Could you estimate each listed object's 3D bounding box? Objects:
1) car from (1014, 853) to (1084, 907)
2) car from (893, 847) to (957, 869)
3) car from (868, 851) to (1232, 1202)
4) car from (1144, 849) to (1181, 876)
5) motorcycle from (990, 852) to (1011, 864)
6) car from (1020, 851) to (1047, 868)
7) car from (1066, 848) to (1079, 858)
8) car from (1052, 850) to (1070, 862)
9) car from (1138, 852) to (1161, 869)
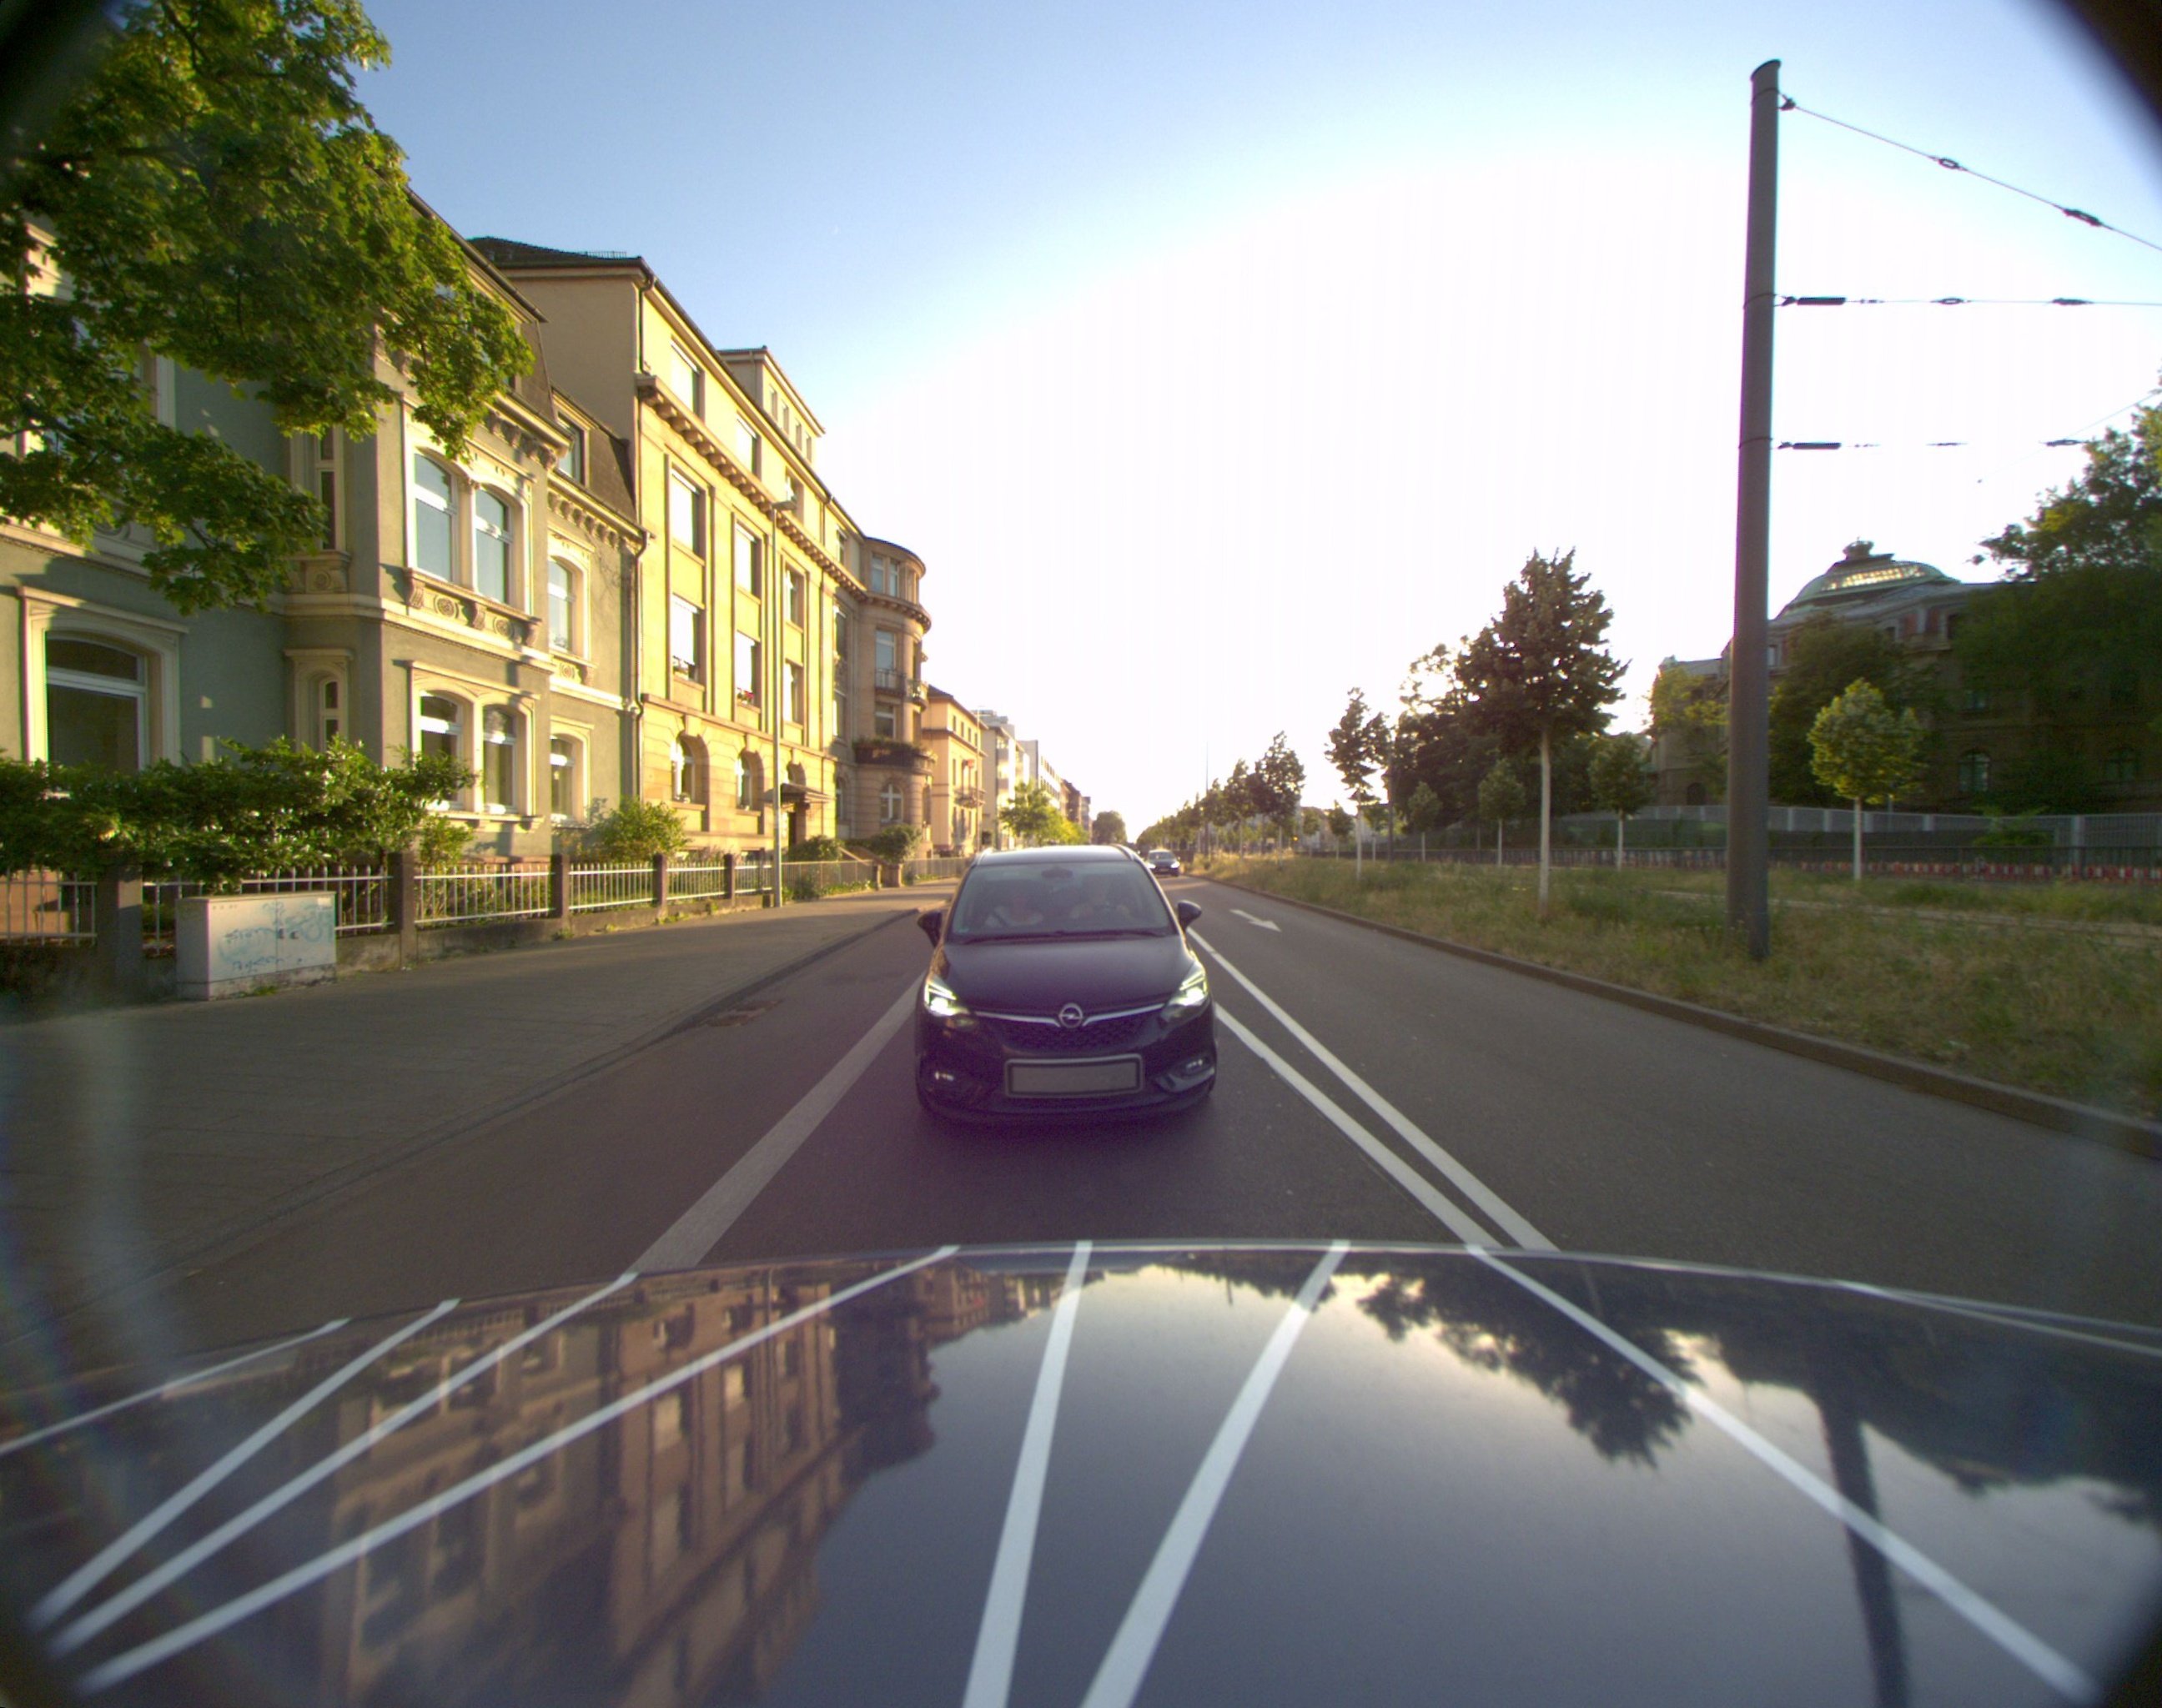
[{"bbox_3d":[-0.905,0.738,23.130,1.859,1.425,4.843,-2,-1,-1],"label":"car"},{"bbox_3d":[-11.018,0.250,53.933,4.096,1.472,1.938,-1,1,3],"label":"car"},{"bbox_3d":[-0.275,0.838,6.176,1.771,1.649,4.850,-1,1,-3],"label":"car"},{"bbox_3d":[4.676,0.491,44.265,1.859,1.425,4.844,-2,-1,3],"label":"car"},{"bbox_3d":[-7.471,0.371,70.262,1.848,1.090,0.576,-1,1,8],"label":"motorcycle"},{"bbox_3d":[-3.860,0.438,62.827,1.882,1.394,4.100,-1,0,1],"label":"car"},{"bbox_3d":[-1.349,-0.186,121.585,1.937,1.472,4.100,-1,0,1],"label":"car"},{"bbox_3d":[-2.402,0.242,91.976,1.937,1.472,4.100,-1,0,1],"label":"car"},{"bbox_3d":[6.297,0.601,70.179,1.859,1.425,4.844,-2,-1,2],"label":"car"}]
